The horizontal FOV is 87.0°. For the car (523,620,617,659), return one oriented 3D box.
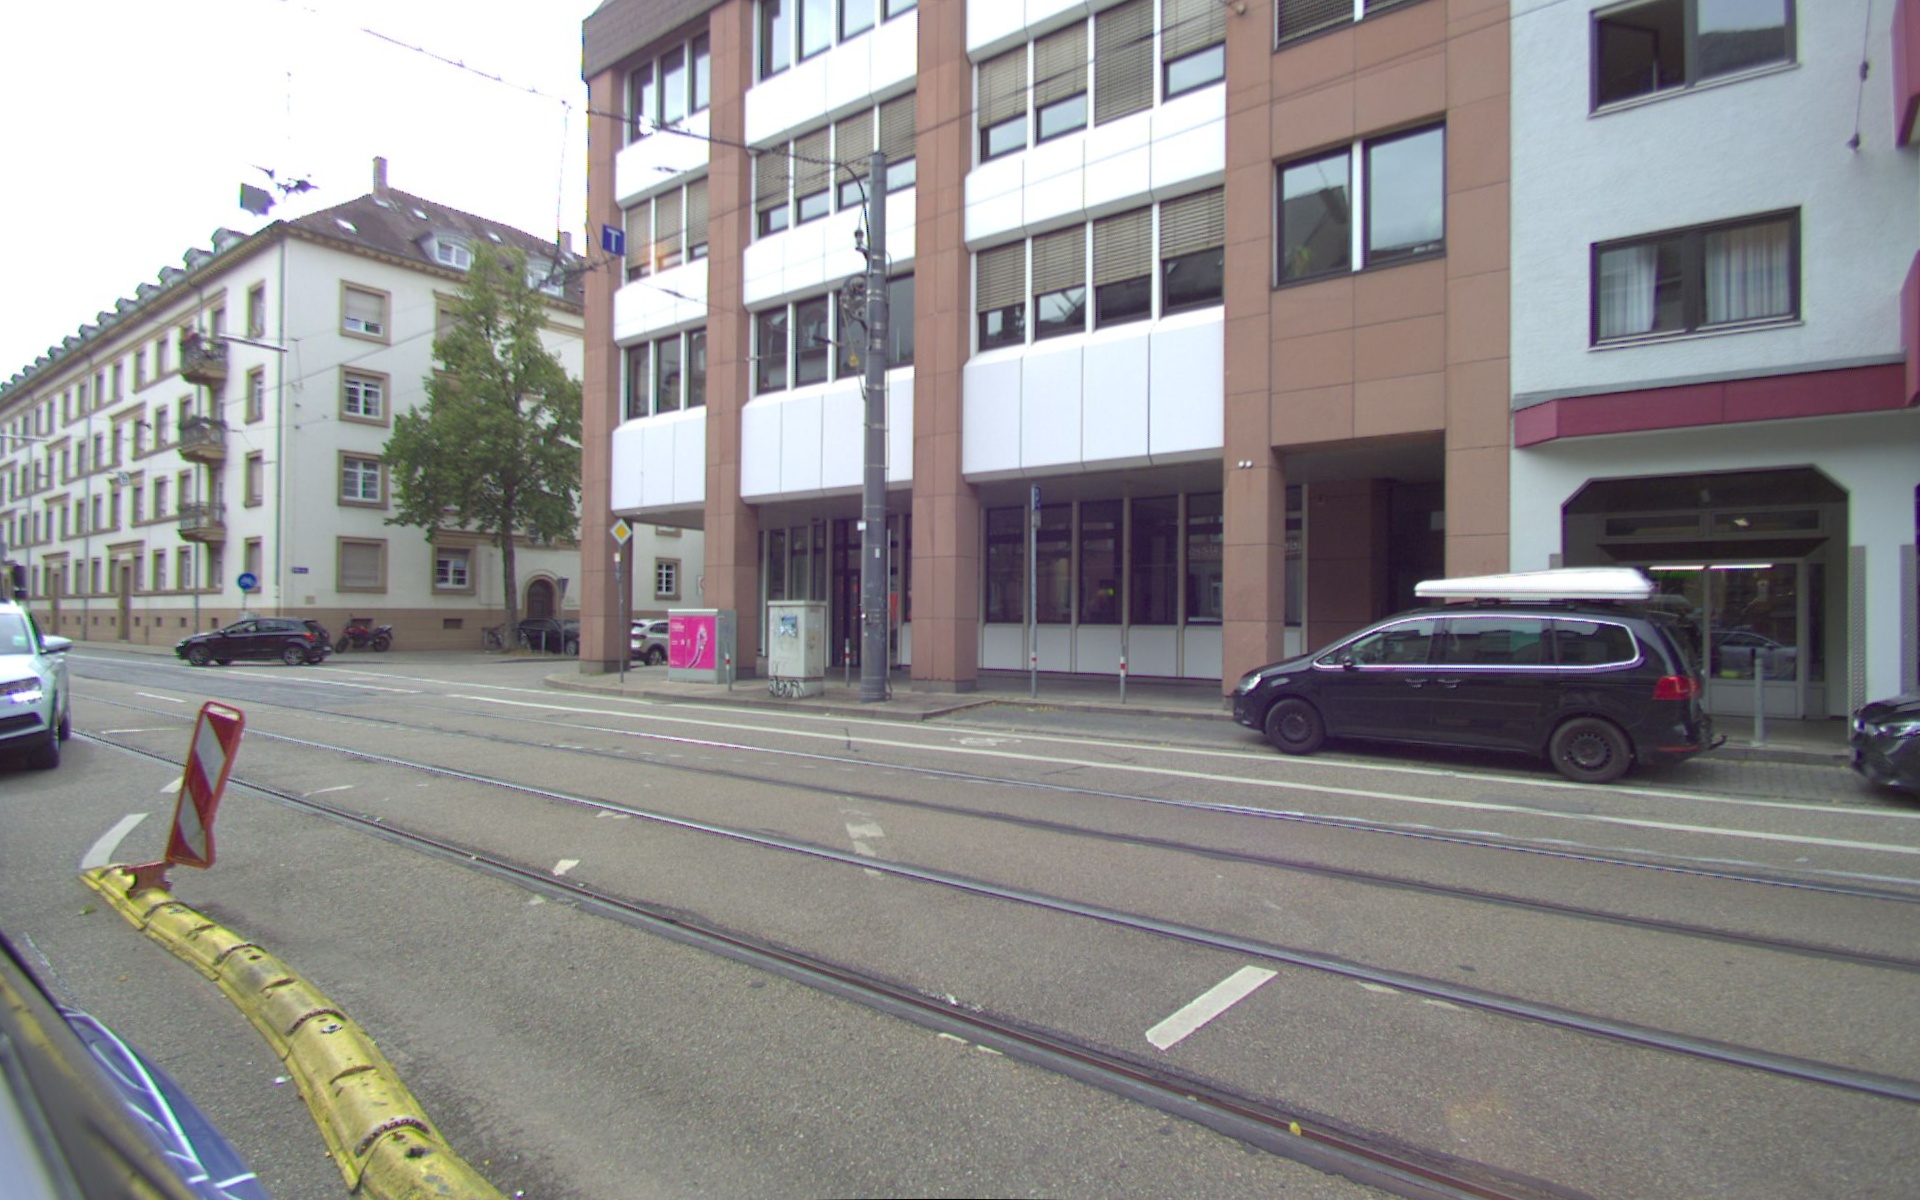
[{"bbox_3d":[-15.181,1.505,39.322,3.869,1.407,1.592,-1,-2,37],"label":"car"}]

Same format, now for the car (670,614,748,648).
[{"bbox_3d":[-11.290,1.362,45.512,3.519,1.473,1.573,-1,-2,37],"label":"car"}]

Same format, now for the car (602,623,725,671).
[{"bbox_3d":[-9.243,1.432,31.788,1.606,1.399,3.612,-1,-2,30],"label":"car"}]

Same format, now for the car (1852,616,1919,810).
[{"bbox_3d":[9.741,0.883,7.416,4.693,1.491,1.737,-1,0,39],"label":"car"}]

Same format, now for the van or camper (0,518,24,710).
[{"bbox_3d":[-21.651,0.289,20.453,9.641,3.447,2.575,-1,-2,39],"label":"van or camper"}]

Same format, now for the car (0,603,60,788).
[{"bbox_3d":[-10.215,0.862,9.997,1.749,1.603,4.284,-1,0,-45],"label":"car"}]

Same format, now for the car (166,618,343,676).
[{"bbox_3d":[-20.936,1.360,30.211,3.979,1.549,1.780,-1,0,-17],"label":"car"}]

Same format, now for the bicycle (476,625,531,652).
[{"bbox_3d":[-18.954,1.582,42.056,0.792,1.094,1.900,-1,-2,39],"label":"bicycle"}]

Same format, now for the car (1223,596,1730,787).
[{"bbox_3d":[5.485,0.838,11.132,4.693,1.659,1.789,-1,0,39],"label":"car"}]

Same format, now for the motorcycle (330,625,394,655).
[{"bbox_3d":[-22.250,1.471,37.693,0.792,1.094,1.900,-1,-2,39],"label":"motorcycle"}]
